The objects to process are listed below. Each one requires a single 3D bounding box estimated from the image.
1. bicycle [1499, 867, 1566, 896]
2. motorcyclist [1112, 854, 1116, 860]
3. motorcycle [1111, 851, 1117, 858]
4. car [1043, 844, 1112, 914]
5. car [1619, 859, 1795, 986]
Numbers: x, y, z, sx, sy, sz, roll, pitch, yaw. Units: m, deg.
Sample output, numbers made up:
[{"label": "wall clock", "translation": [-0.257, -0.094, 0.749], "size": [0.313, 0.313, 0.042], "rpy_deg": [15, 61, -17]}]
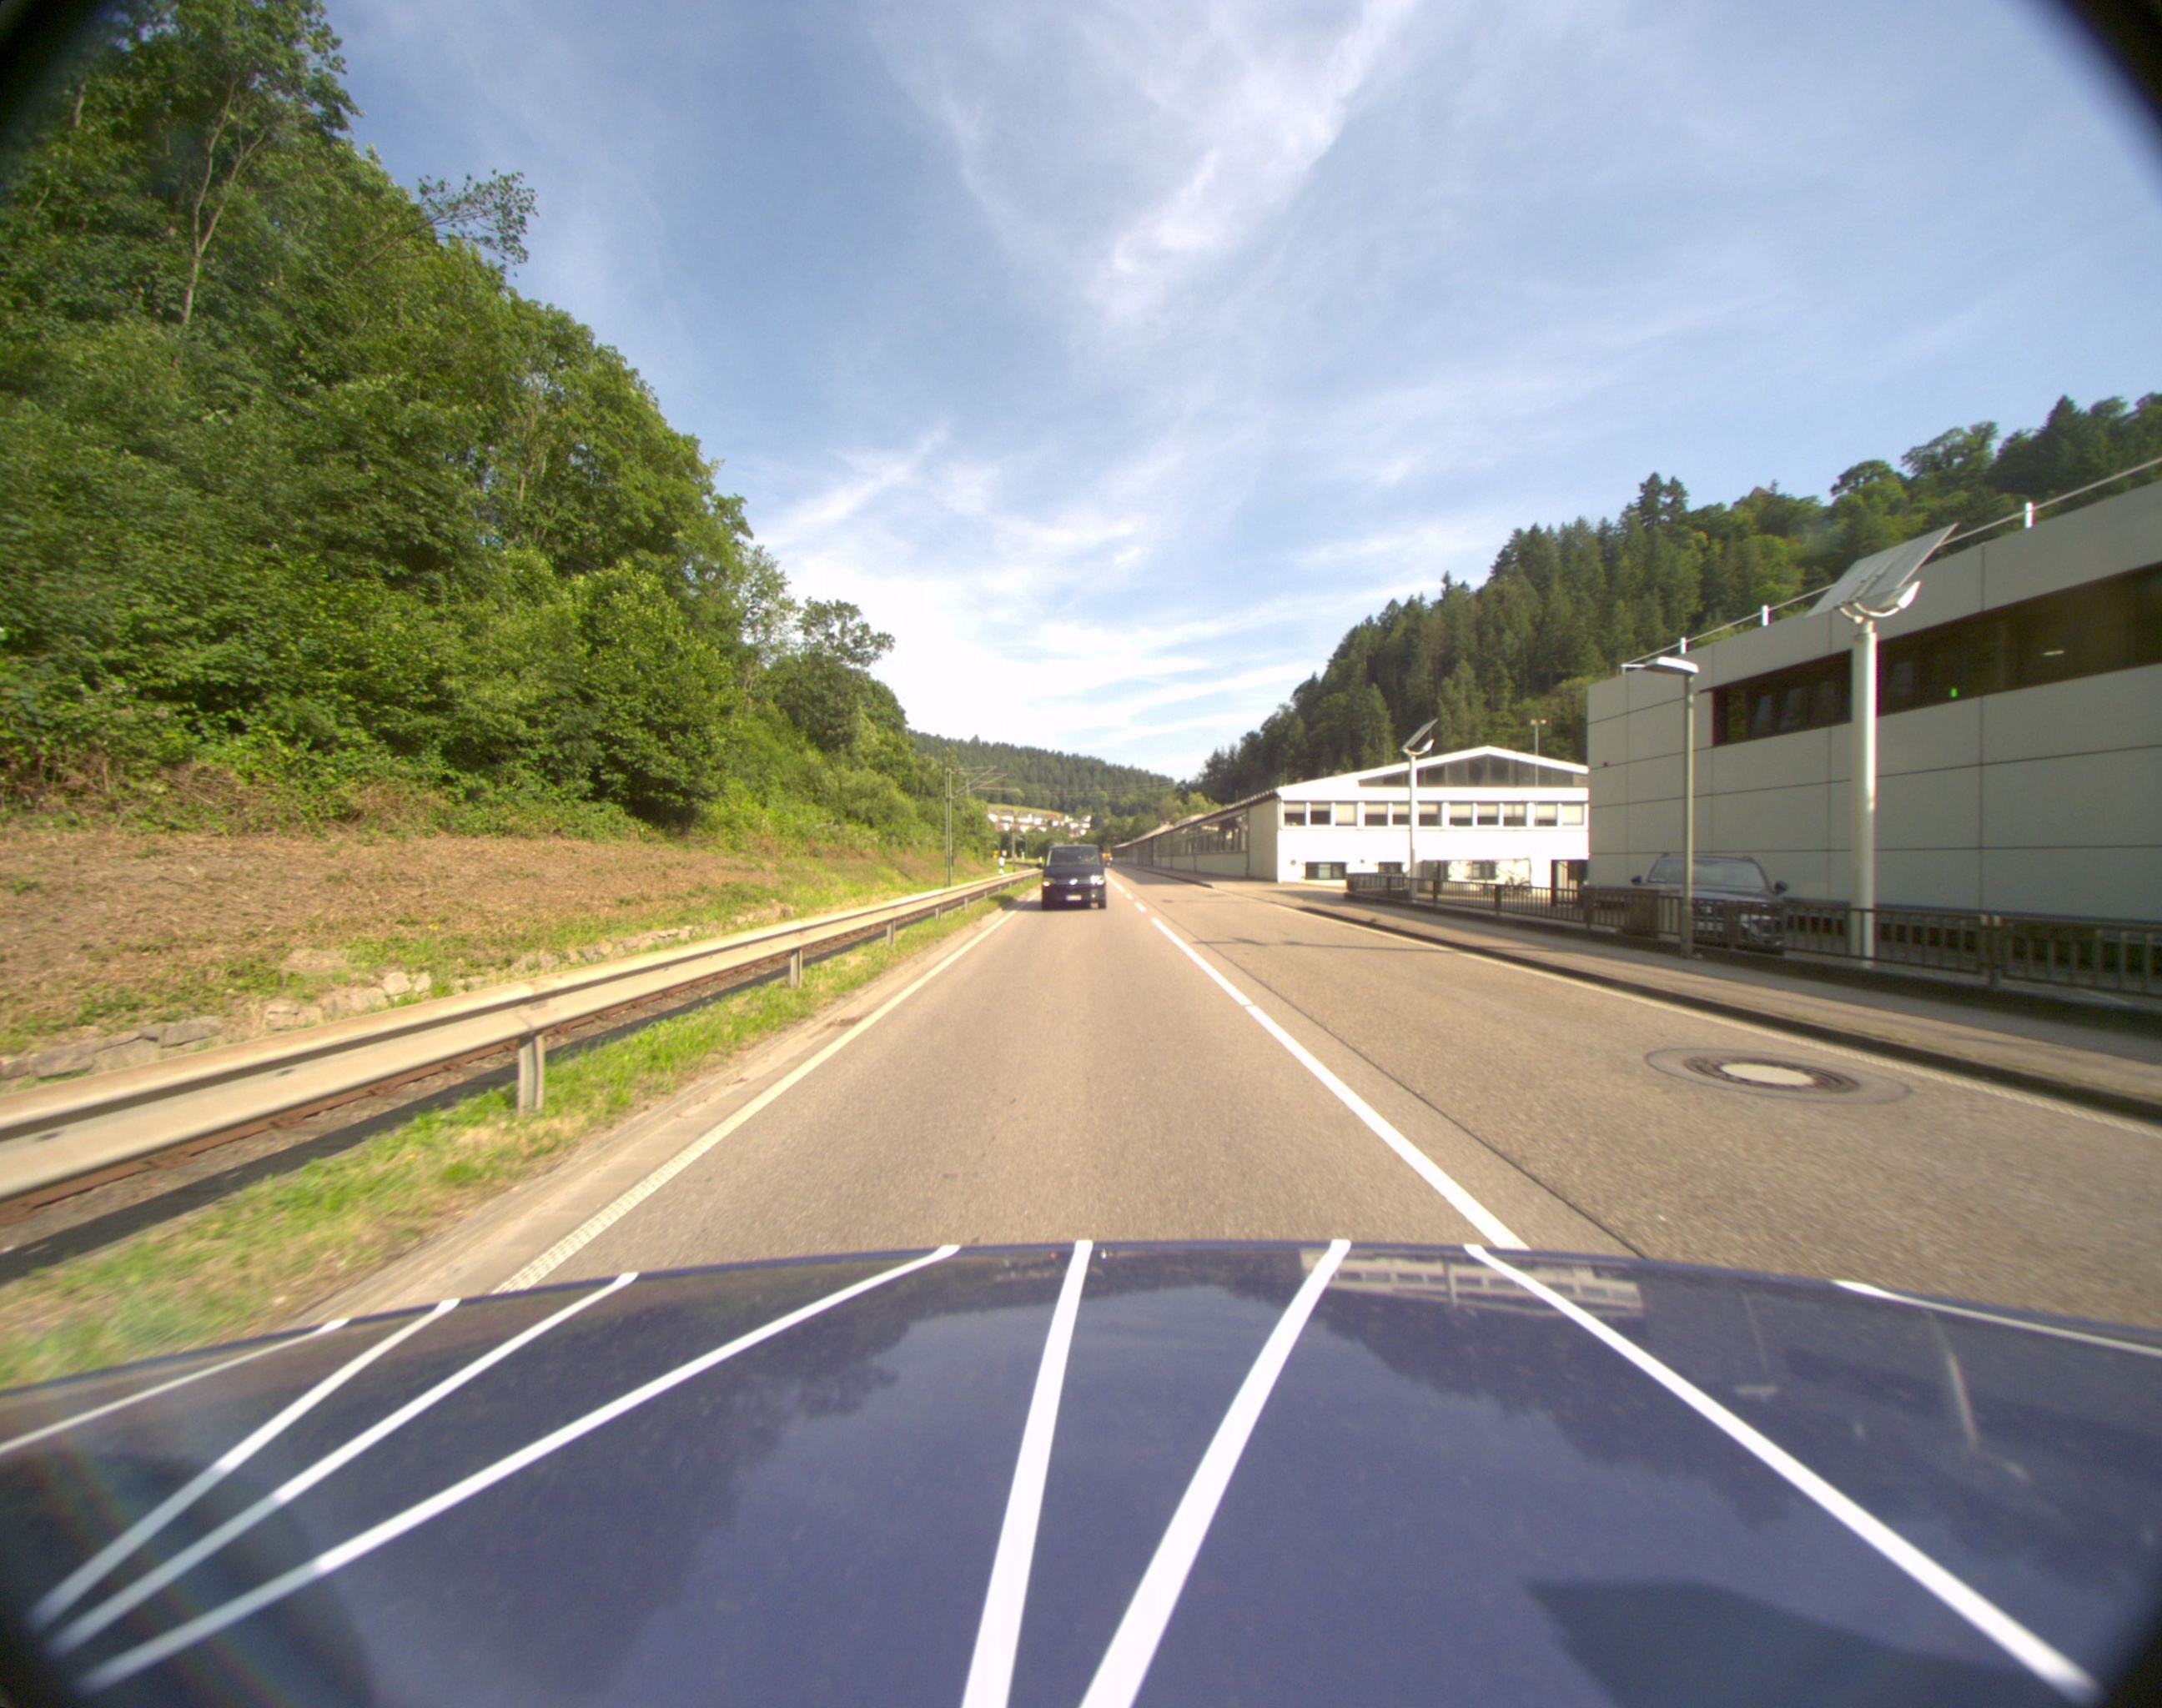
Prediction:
[{"label": "bicycle", "translation": [20.858, 1.259, 35.139], "size": [2.499, 1.253, 1.041], "rpy_deg": [2, 1, -8]}, {"label": "motorcyclist", "translation": [5.433, 0.494, 124.756], "size": [0.587, 1.118, 0.636], "rpy_deg": [-1, 1, 0]}, {"label": "motorcycle", "translation": [5.436, 0.111, 125.148], "size": [0.743, 1.062, 2.492], "rpy_deg": [-1, 0, 0]}, {"label": "car", "translation": [-0.220, 0.703, 24.003], "size": [1.901, 1.927, 5.187], "rpy_deg": [-1, 0, -3]}, {"label": "car", "translation": [10.047, 0.913, 12.116], "size": [1.883, 1.582, 4.184], "rpy_deg": [-1, 1, 42]}]
